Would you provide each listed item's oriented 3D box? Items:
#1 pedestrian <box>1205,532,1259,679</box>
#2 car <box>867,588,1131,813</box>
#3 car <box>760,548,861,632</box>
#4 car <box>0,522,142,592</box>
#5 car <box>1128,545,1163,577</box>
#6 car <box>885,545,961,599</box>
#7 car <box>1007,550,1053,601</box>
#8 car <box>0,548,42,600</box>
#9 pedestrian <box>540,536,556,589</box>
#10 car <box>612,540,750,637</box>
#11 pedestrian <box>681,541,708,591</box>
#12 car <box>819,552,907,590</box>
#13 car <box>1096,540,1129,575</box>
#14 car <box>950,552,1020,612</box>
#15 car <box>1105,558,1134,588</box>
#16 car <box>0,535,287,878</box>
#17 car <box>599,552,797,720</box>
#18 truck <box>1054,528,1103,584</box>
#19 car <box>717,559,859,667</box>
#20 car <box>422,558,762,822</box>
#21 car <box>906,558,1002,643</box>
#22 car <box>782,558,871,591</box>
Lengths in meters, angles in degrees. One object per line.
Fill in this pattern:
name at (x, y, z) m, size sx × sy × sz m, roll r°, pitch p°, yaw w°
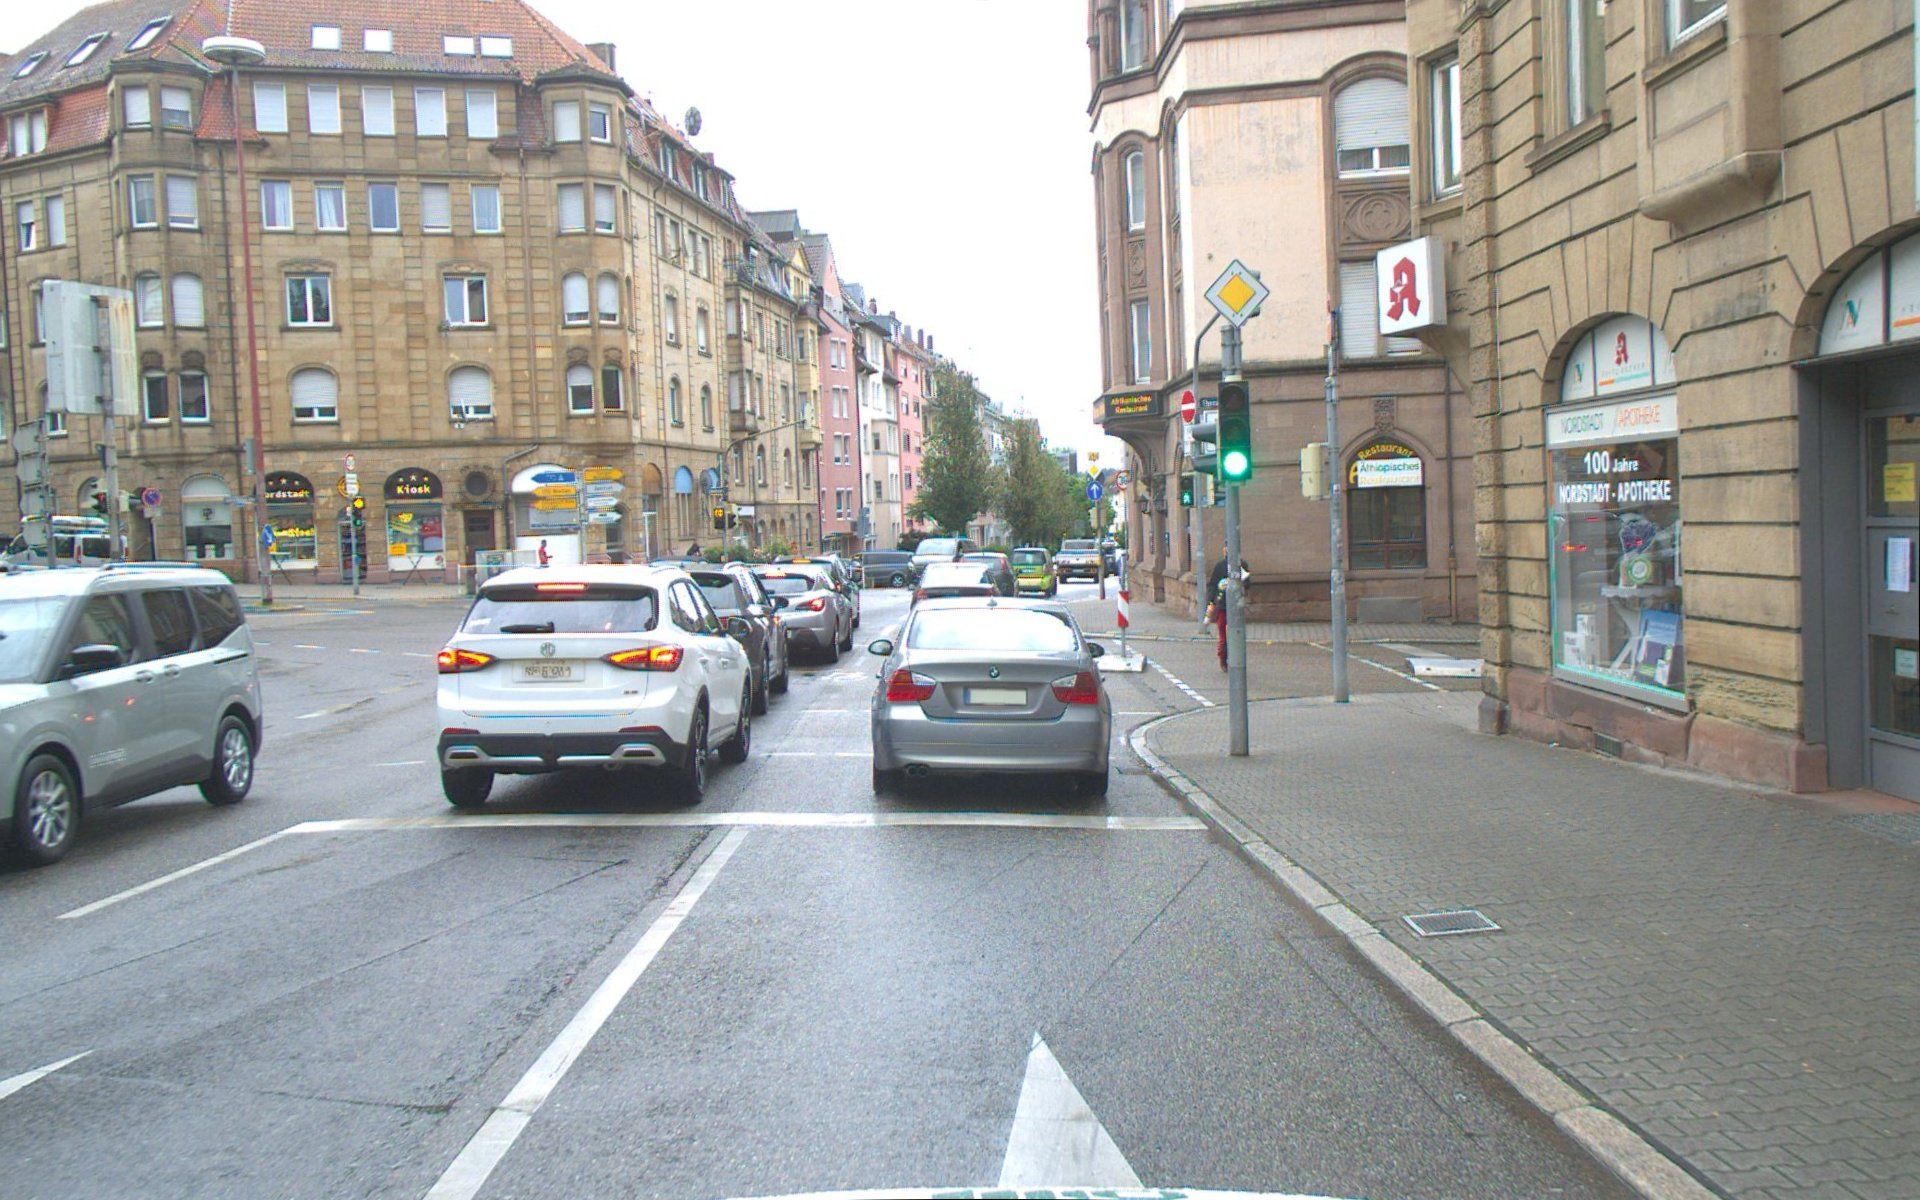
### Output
pedestrian at (3.756, 0.054, 22.913) m, size 0.683 × 1.983 × 1.092 m, roll 0°, pitch 3°, yaw 7°
car at (0.227, 0.653, 12.832) m, size 1.733 × 1.453 × 3.740 m, roll -1°, pitch 1°, yaw -1°
car at (-2.944, -0.217, 33.251) m, size 1.716 × 1.562 × 4.214 m, roll -1°, pitch 1°, yaw -1°
car at (-29.232, -1.405, 54.134) m, size 4.695 × 2.206 × 1.998 m, roll 0°, pitch 1°, yaw 27°
car at (10.404, -2.177, 92.471) m, size 1.839 × 1.761 × 4.681 m, roll 0°, pitch 1°, yaw 7°
car at (-1.426, -1.036, 62.311) m, size 1.715 × 1.878 × 4.125 m, roll -3°, pitch 1°, yaw -18°
car at (2.327, -0.807, 54.261) m, size 1.418 × 1.593 × 3.335 m, roll -1°, pitch 1°, yaw 4°
car at (-33.541, -0.892, 56.249) m, size 4.282 × 1.734 × 1.998 m, roll 0°, pitch 1°, yaw 27°
pedestrian at (-14.097, -1.287, 56.581) m, size 0.514 × 1.805 × 0.690 m, roll -1°, pitch 1°, yaw -16°
car at (-5.602, -0.288, 33.663) m, size 1.680 × 1.520 × 3.686 m, roll -11°, pitch 2°, yaw 5°
pedestrian at (-9.347, -1.211, 58.282) m, size 0.814 × 1.731 × 0.635 m, roll -1°, pitch 1°, yaw -22°
car at (-5.070, -1.560, 87.351) m, size 4.580 × 1.972 × 1.863 m, roll 0°, pitch 2°, yaw -2°
car at (9.054, -2.488, 98.198) m, size 1.774 × 1.937 × 4.003 m, roll 1°, pitch 0°, yaw 7°
car at (0.708, -0.488, 43.894) m, size 1.662 × 1.509 × 3.796 m, roll -1°, pitch 1°, yaw 4°
car at (10.389, -1.740, 107.341) m, size 1.740 × 1.829 × 4.003 m, roll 1°, pitch 0°, yaw 7°
car at (-6.310, 0.649, 11.079) m, size 1.777 × 1.913 × 4.241 m, roll -5°, pitch 1°, yaw -1°
car at (-2.965, 0.320, 19.549) m, size 1.716 × 1.673 × 4.213 m, roll -1°, pitch 3°, yaw -1°
truck at (5.496, -1.984, 76.113) m, size 1.989 × 2.454 × 4.831 m, roll -1°, pitch 1°, yaw 7°
car at (-2.645, 0.136, 26.333) m, size 1.716 × 1.508 × 4.182 m, roll -1°, pitch 2°, yaw 1°
car at (-2.622, 0.553, 12.822) m, size 1.716 × 1.673 × 4.378 m, roll -1°, pitch 1°, yaw -1°
car at (-0.076, -0.021, 30.649) m, size 1.647 × 1.453 × 3.741 m, roll -1°, pitch 1°, yaw 1°
car at (-6.600, -1.268, 82.245) m, size 4.059 × 1.537 × 1.875 m, roll -1°, pitch 1°, yaw 8°
